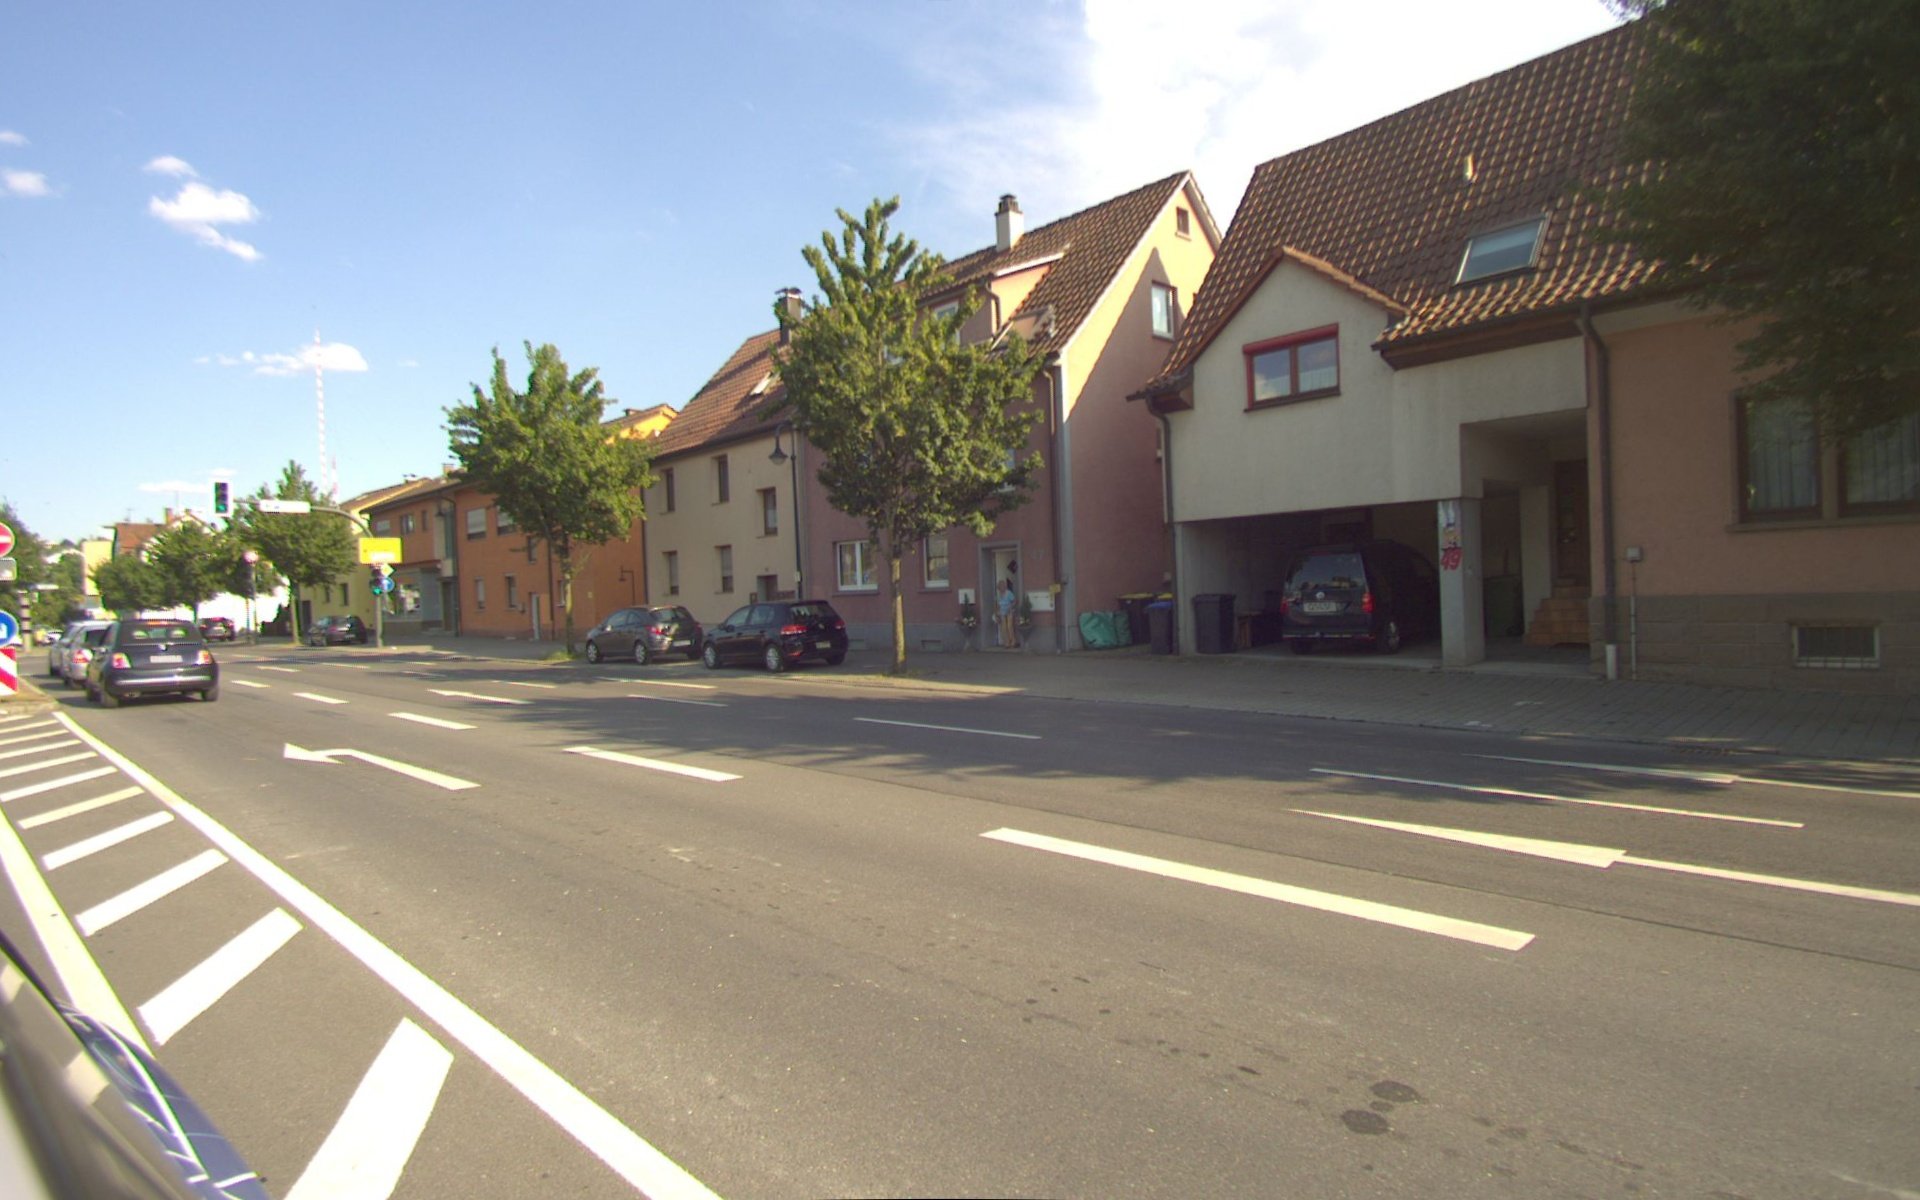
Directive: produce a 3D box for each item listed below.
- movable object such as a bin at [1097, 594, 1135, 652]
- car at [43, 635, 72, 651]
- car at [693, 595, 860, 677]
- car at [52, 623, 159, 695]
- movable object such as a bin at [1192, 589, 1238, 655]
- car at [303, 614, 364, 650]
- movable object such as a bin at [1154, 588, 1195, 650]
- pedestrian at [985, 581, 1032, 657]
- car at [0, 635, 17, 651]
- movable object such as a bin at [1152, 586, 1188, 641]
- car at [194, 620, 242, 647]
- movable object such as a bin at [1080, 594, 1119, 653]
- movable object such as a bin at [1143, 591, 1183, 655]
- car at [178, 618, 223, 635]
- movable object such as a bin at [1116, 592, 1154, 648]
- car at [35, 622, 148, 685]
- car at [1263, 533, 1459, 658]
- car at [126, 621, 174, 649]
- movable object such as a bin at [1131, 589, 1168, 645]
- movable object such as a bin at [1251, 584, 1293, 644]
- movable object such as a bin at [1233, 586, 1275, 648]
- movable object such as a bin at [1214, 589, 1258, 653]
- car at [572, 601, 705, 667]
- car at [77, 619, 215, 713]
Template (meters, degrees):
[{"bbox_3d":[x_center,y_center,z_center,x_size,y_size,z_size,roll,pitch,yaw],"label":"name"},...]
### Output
[{"bbox_3d":[3.190,0.461,20.670,0.498,1.151,0.530,-1,-1,-44],"label":"movable object such as a bin"},{"bbox_3d":[-87.817,4.207,98.441,4.000,1.422,1.738,-2,-1,43],"label":"car"},{"bbox_3d":[-4.082,0.755,22.131,1.646,1.543,3.906,-5,2,-43],"label":"car"},{"bbox_3d":[-19.329,1.265,22.842,1.571,1.438,3.580,-1,0,-44],"label":"car"},{"bbox_3d":[4.562,0.390,18.087,0.575,1.151,0.560,-2,-1,38],"label":"movable object such as a bin"},{"bbox_3d":[-29.127,1.480,47.016,1.574,1.449,3.778,-7,3,-43],"label":"car"},{"bbox_3d":[4.050,0.361,19.107,0.540,1.146,0.504,-2,-1,43],"label":"movable object such as a bin"},{"bbox_3d":[1.060,0.411,21.924,0.774,1.619,0.716,-2,0,27],"label":"pedestrian"},{"bbox_3d":[-90.737,4.067,95.923,4.000,1.422,1.738,-2,-1,43],"label":"car"},{"bbox_3d":[4.532,0.287,21.849,0.498,1.151,0.546,-1,-1,-44],"label":"movable object such as a bin"},{"bbox_3d":[-47.505,2.139,64.738,1.833,1.607,4.463,-2,-1,-45],"label":"car"},{"bbox_3d":[2.797,0.478,20.296,0.544,1.151,0.530,-1,-1,-44],"label":"movable object such as a bin"},{"bbox_3d":[3.720,0.426,18.563,0.501,1.146,0.470,-2,-1,43],"label":"movable object such as a bin"},{"bbox_3d":[-75.323,2.658,100.425,1.837,1.638,3.408,0,-2,1],"label":"car"},{"bbox_3d":[3.639,0.412,21.070,0.498,1.151,0.546,-1,-1,-44],"label":"movable object such as a bin"},{"bbox_3d":[-23.383,1.405,27.191,4.566,1.500,1.815,-2,-1,43],"label":"car"},{"bbox_3d":[7.051,-0.140,17.612,1.780,1.895,3.778,-2,2,45],"label":"car"},{"bbox_3d":[-50.173,2.181,62.675,4.413,1.624,1.667,-2,0,43],"label":"car"},{"bbox_3d":[4.019,0.361,21.449,0.498,1.151,0.546,-1,-1,-44],"label":"movable object such as a bin"},{"bbox_3d":[6.074,0.268,19.684,0.575,1.151,0.560,-2,-1,38],"label":"movable object such as a bin"},{"bbox_3d":[5.590,0.315,19.232,0.575,1.151,0.560,-2,-1,38],"label":"movable object such as a bin"},{"bbox_3d":[5.111,0.387,18.744,0.575,1.151,0.560,-2,-1,38],"label":"movable object such as a bin"},{"bbox_3d":[-8.395,0.872,26.265,3.885,1.521,1.496,-2,1,43],"label":"car"},{"bbox_3d":[-14.731,1.133,18.263,3.507,1.473,1.515,-2,-1,44],"label":"car"}]
